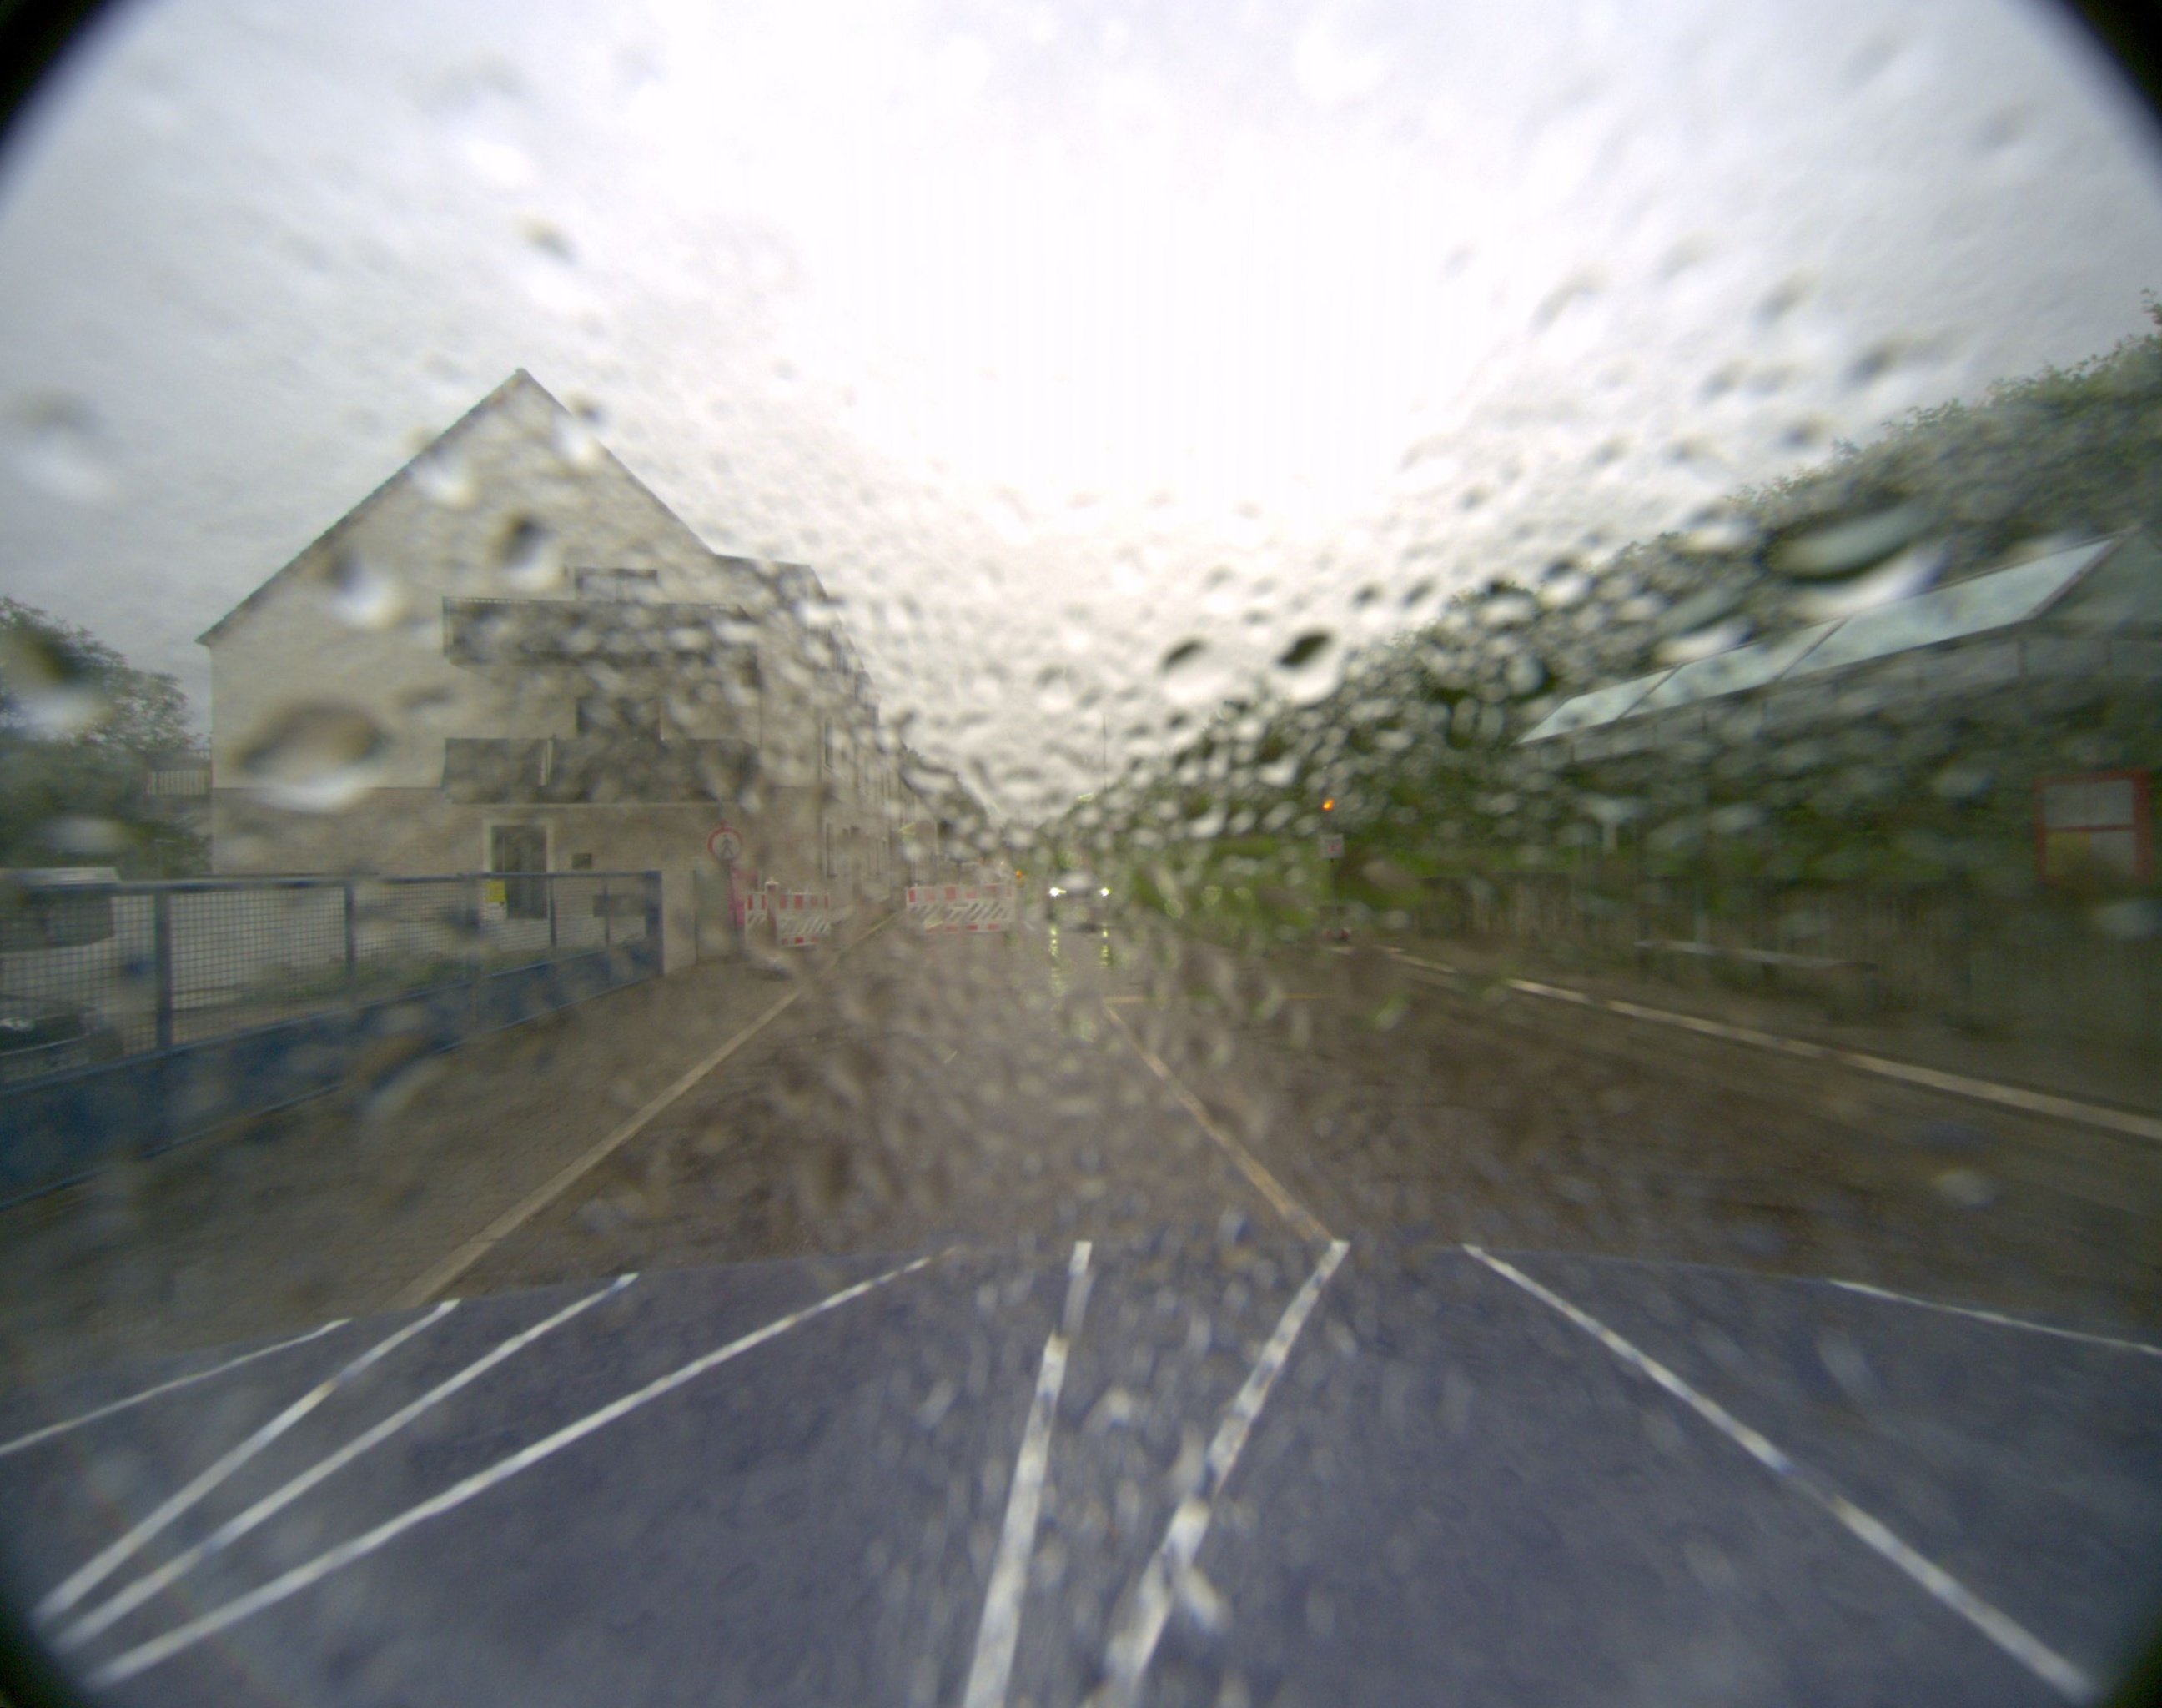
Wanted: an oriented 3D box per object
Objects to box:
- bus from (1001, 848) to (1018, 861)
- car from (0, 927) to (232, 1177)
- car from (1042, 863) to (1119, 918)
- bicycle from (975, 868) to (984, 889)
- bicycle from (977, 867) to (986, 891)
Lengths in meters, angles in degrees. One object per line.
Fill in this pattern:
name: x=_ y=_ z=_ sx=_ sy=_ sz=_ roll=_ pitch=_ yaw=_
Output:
bus: x=-16.567 y=0.003 z=177.258 sx=2.685 sy=2.987 sz=14.544 roll=0 pitch=0 yaw=0
car: x=-8.313 y=1.357 z=4.417 sx=4.157 sy=1.294 sz=1.911 roll=-5 pitch=1 yaw=-8
car: x=-0.133 y=1.038 z=23.308 sx=1.853 sy=1.444 sz=4.528 roll=0 pitch=0 yaw=-7
bicycle: x=-5.296 y=1.263 z=39.712 sx=0.407 sy=1.023 sz=1.220 roll=0 pitch=1 yaw=-6
bicycle: x=-4.921 y=1.221 z=37.509 sx=0.407 sy=1.137 sz=1.220 roll=0 pitch=1 yaw=-6
